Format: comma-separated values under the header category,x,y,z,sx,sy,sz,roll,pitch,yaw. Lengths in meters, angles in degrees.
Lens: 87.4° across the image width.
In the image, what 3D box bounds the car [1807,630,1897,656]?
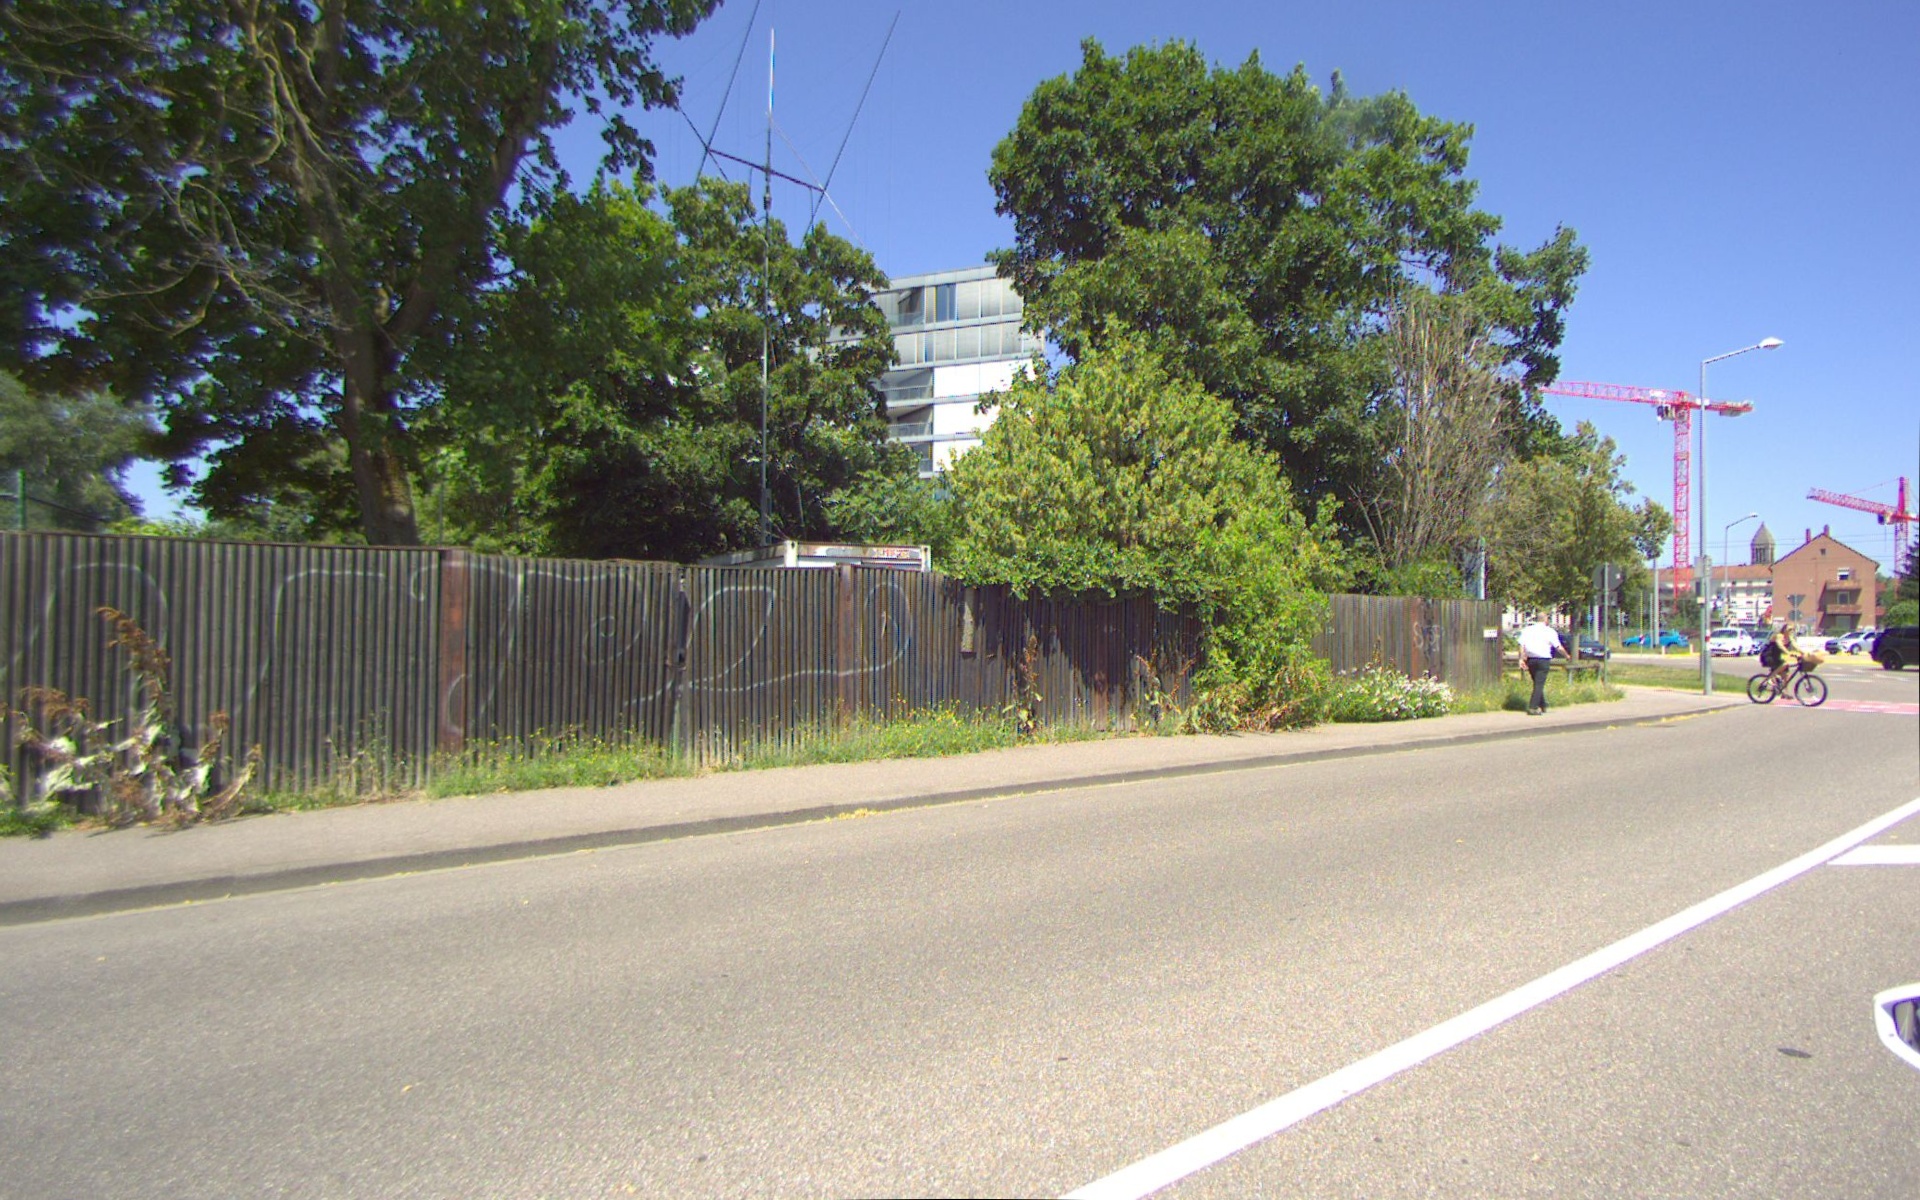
category,x,y,z,sx,sy,sz,roll,pitch,yaw
car,55.620,2.680,62.668,4.188,1.421,1.732,2,0,-3

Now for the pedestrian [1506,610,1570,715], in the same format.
category,x,y,z,sx,sy,sz,roll,pitch,yaw
pedestrian,10.314,1.100,17.910,0.960,1.810,0.631,2,0,-37

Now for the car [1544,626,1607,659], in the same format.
category,x,y,z,sx,sy,sz,roll,pitch,yaw
car,31.796,2.171,51.994,1.693,1.572,4.345,-1,-1,16

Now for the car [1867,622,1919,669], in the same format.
category,x,y,z,sx,sy,sz,roll,pitch,yaw
car,35.585,1.652,36.025,1.961,1.617,4.418,-2,0,-2

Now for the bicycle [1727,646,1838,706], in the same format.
category,x,y,z,sx,sy,sz,roll,pitch,yaw
bicycle,18.065,1.650,22.119,0.604,1.247,1.841,2,-3,-19

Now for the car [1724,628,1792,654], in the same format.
category,x,y,z,sx,sy,sz,roll,pitch,yaw
car,46.828,2.397,58.937,4.282,1.390,1.737,2,0,-31

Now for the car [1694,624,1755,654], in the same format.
category,x,y,z,sx,sy,sz,roll,pitch,yaw
car,42.253,2.138,55.494,3.837,1.547,1.763,1,-2,-37

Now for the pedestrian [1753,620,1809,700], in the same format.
category,x,y,z,sx,sy,sz,roll,pitch,yaw
pedestrian,18.065,1.314,22.116,0.566,1.714,0.731,2,0,-20

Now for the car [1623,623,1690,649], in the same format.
category,x,y,z,sx,sy,sz,roll,pitch,yaw
car,52.790,2.711,76.162,3.943,1.795,1.866,2,0,43
